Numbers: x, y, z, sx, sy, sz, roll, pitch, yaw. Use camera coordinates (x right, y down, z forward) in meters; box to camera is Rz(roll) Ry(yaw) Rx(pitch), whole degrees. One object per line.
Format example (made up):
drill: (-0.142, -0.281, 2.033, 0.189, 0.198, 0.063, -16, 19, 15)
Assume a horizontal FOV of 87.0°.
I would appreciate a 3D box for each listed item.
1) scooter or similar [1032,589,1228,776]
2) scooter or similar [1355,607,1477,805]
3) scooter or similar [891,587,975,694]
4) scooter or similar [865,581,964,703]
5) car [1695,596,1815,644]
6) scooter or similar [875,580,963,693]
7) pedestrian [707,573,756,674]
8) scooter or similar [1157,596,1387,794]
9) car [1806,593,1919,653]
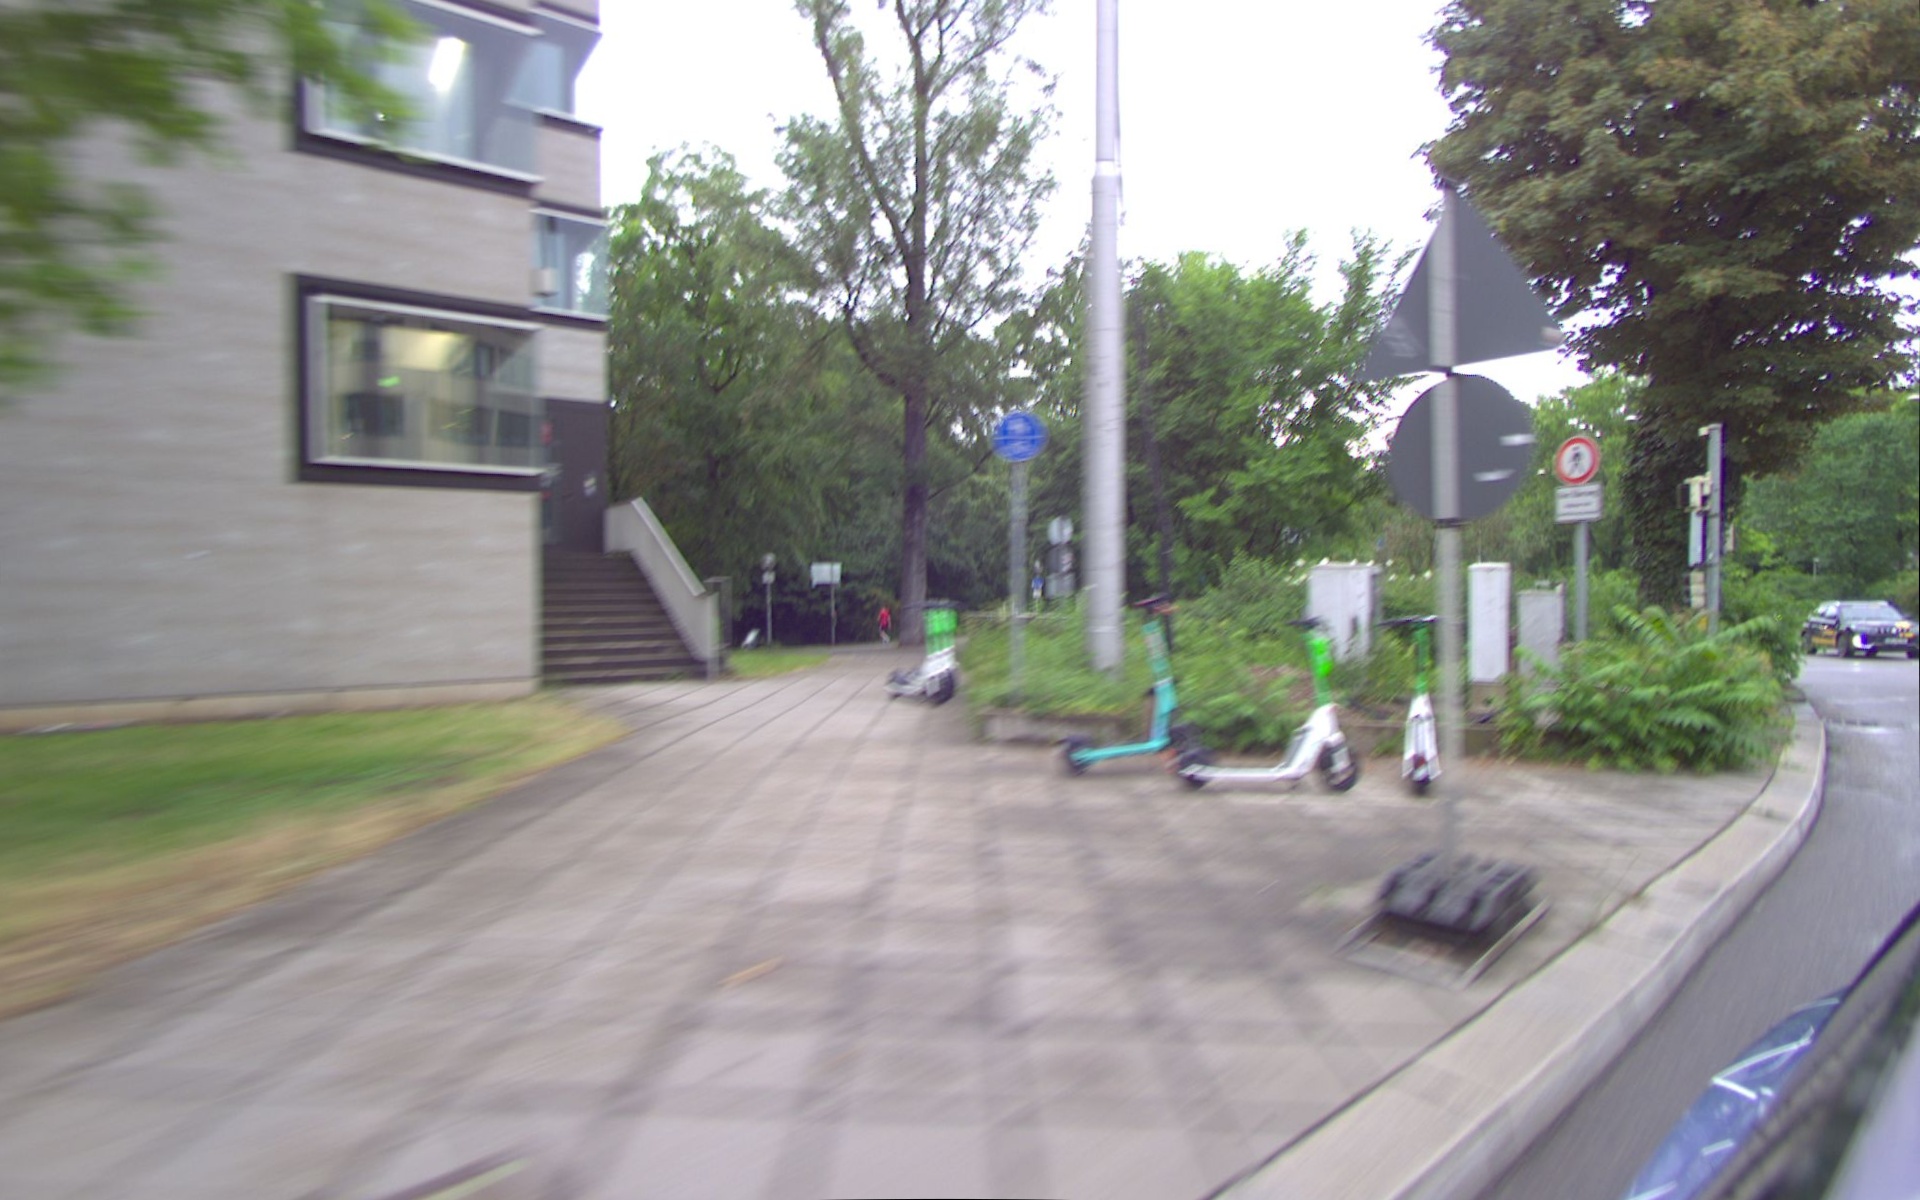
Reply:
scooter or similar: (1.215, 0.539, 7.208, 1.298, 1.216, 0.565, 0, 1, -29)
scooter or similar: (3.177, 0.648, 6.979, 0.631, 1.142, 1.577, 1, 1, 29)
scooter or similar: (-0.367, 0.498, 13.293, 0.463, 1.329, 1.241, 0, 1, -38)
scooter or similar: (-0.544, 0.447, 11.774, 0.544, 1.329, 1.241, 0, 1, -38)
car: (32.903, 0.777, 42.094, 1.968, 1.766, 4.641, 1, 2, 11)
scooter or similar: (-0.528, 0.426, 12.634, 0.463, 1.329, 1.241, 0, 1, -38)
pedestrian: (-3.218, 0.321, 14.271, 0.528, 1.390, 0.480, 0, 1, -36)
scooter or similar: (2.036, 0.598, 6.746, 1.314, 1.216, 0.689, 1, 1, 3)
car: (26.278, 0.613, 29.122, 1.910, 1.560, 3.968, 0, 1, 24)
